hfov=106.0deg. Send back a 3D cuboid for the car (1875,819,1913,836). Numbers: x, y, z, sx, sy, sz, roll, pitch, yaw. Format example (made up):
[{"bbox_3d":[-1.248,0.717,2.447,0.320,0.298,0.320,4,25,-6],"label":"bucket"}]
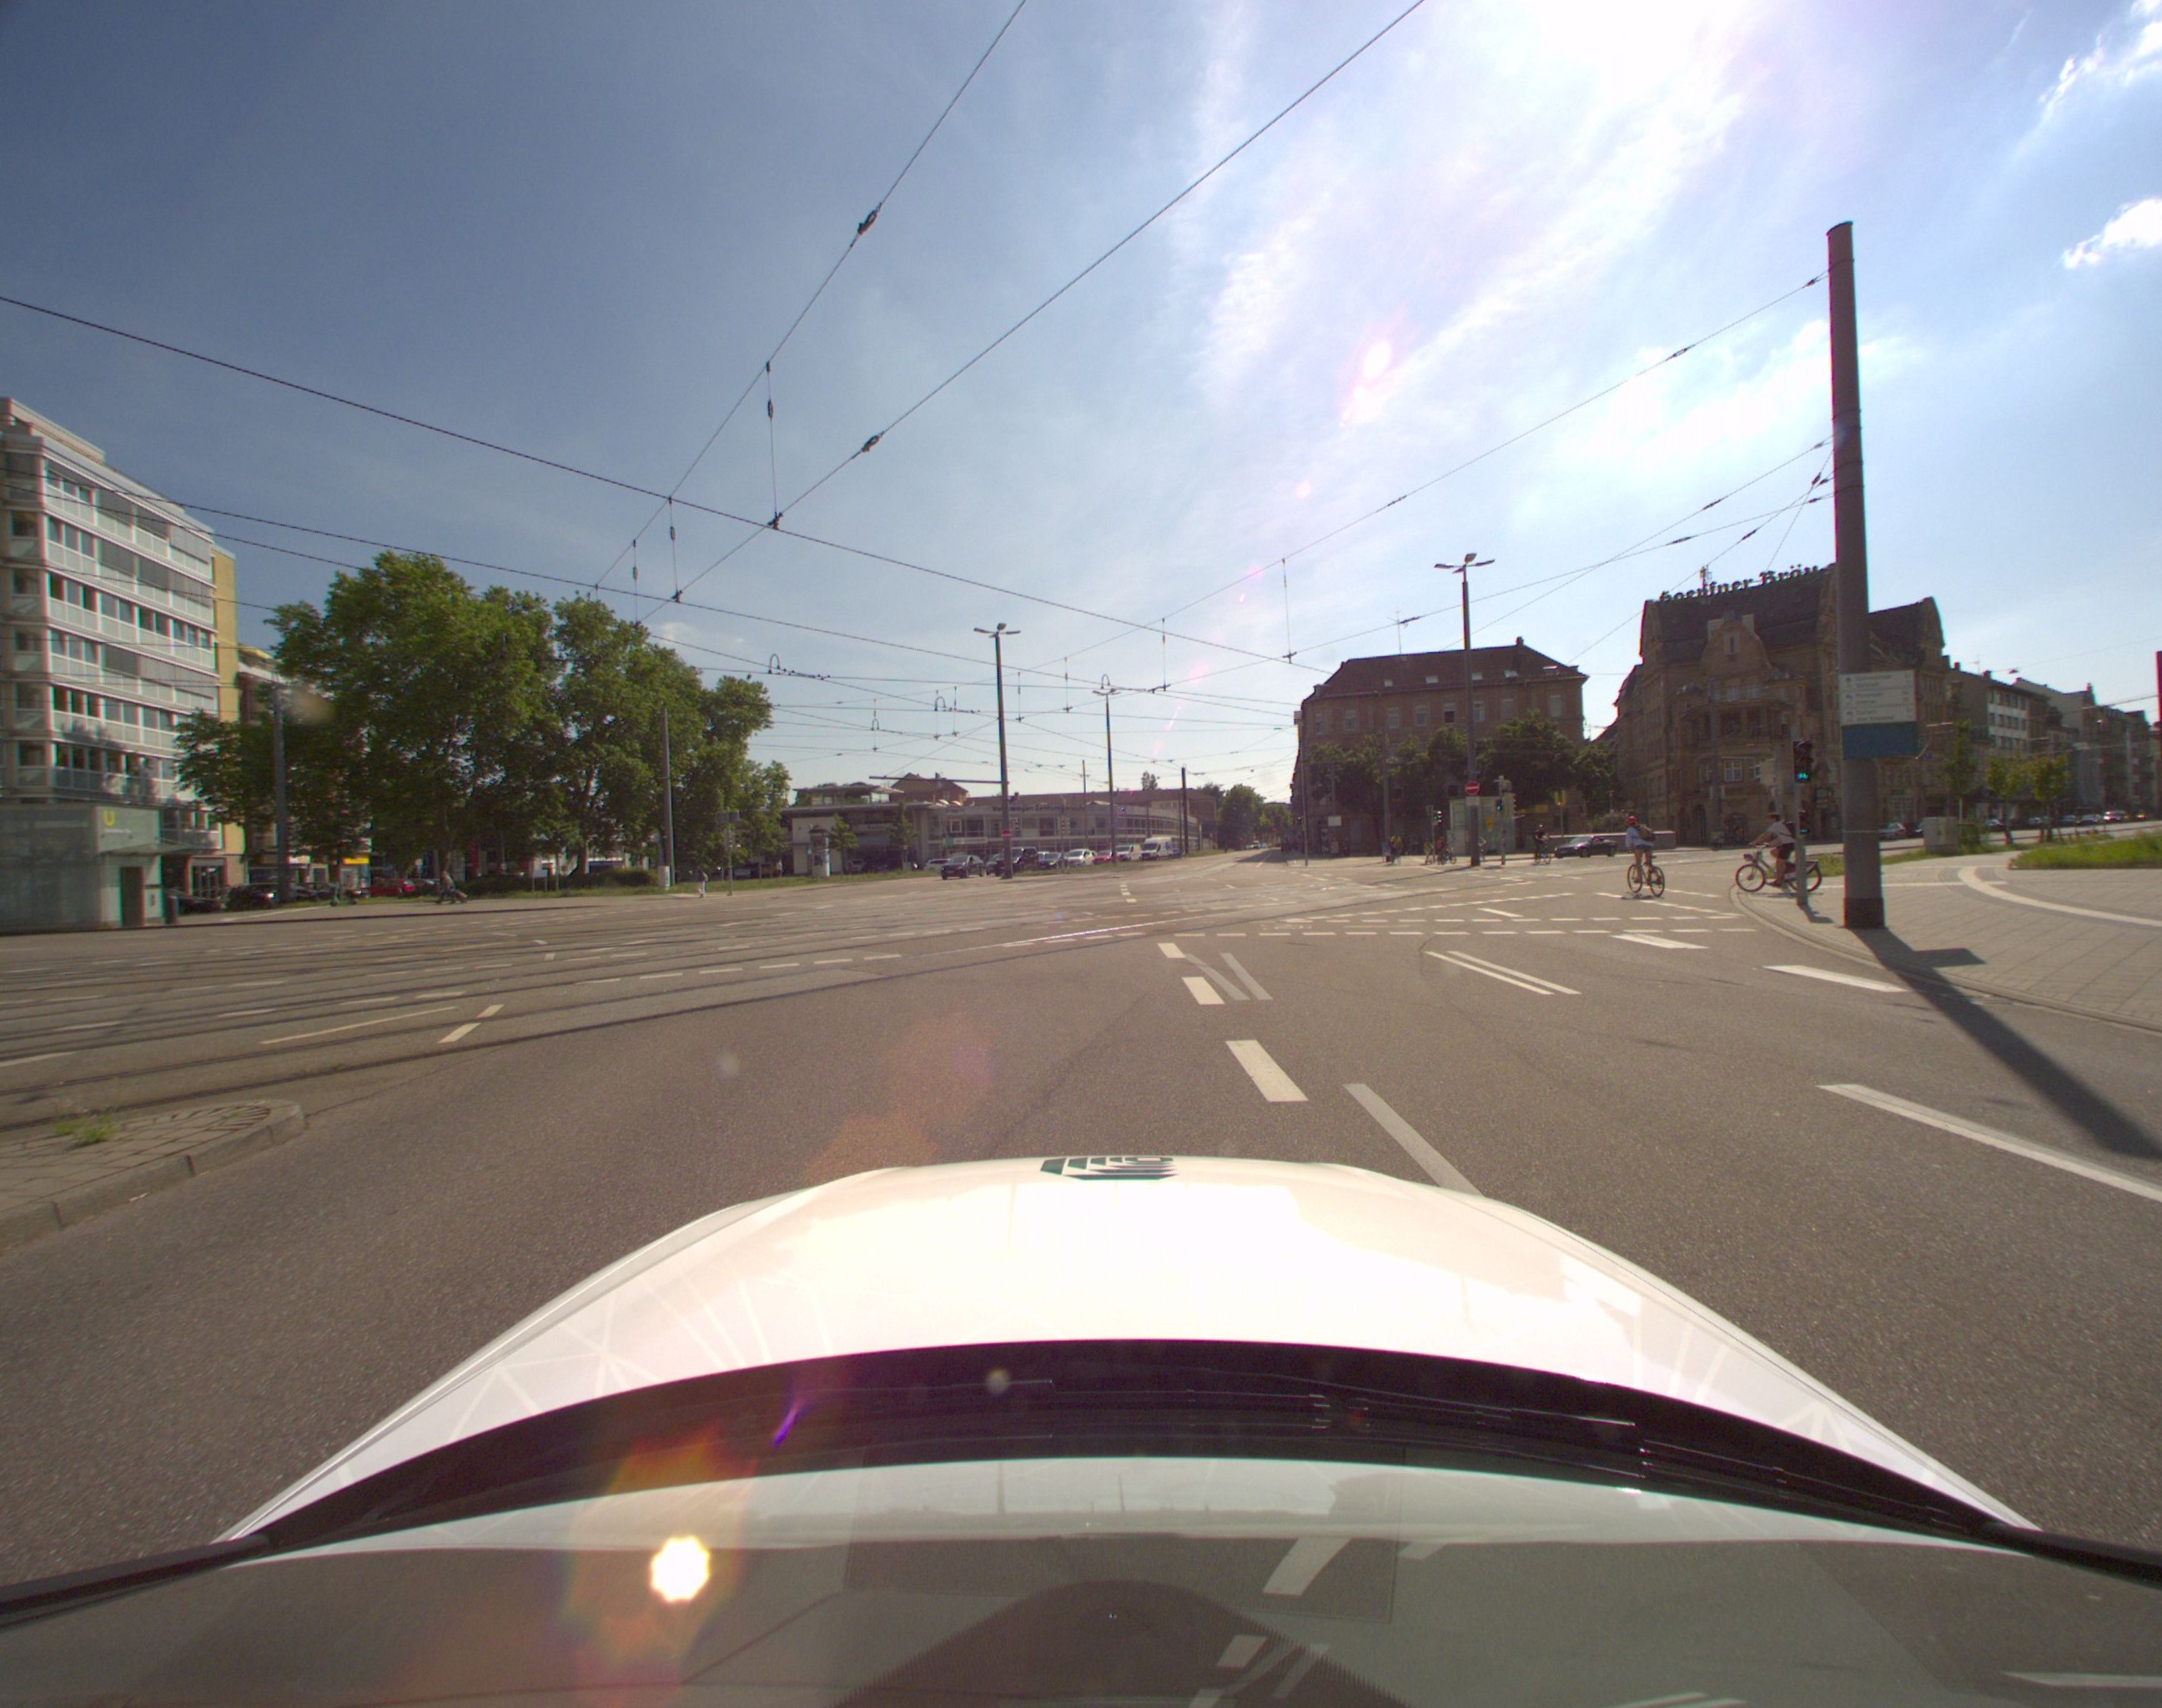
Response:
[{"bbox_3d":[74.109,-2.422,74.224,3.596,1.345,1.622,-2,0,-32],"label":"car"}]

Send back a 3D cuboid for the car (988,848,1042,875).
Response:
[{"bbox_3d":[-4.280,0.466,53.667,1.946,1.587,4.737,-2,0,17],"label":"car"}]

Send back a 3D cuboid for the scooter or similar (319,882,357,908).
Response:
[{"bbox_3d":[-34.457,1.895,37.774,1.351,1.119,0.518,-2,0,9],"label":"scooter or similar"}]

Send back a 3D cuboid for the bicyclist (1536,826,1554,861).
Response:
[{"bbox_3d":[21.965,-0.494,38.547,0.661,1.624,0.787,0,0,22],"label":"bicyclist"}]

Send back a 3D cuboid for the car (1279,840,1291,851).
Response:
[{"bbox_3d":[38.899,-1.539,155.364,2.093,2.014,4.015,0,-1,14],"label":"car"}]

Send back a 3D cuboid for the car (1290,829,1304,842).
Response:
[{"bbox_3d":[33.894,-2.886,127.882,1.980,2.014,4.012,0,-1,11],"label":"car"}]

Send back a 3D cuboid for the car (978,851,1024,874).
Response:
[{"bbox_3d":[-5.823,0.622,59.833,1.879,1.588,4.017,-2,-1,17],"label":"car"}]

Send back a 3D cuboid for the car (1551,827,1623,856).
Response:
[{"bbox_3d":[30.806,-0.774,49.612,4.002,1.583,1.627,-2,0,-21],"label":"car"}]

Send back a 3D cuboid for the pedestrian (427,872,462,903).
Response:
[{"bbox_3d":[-29.542,1.550,37.828,1.118,1.404,0.652,0,-1,-23],"label":"pedestrian"}]

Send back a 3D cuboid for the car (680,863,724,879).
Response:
[{"bbox_3d":[-43.317,1.941,93.124,3.977,1.552,1.998,-2,0,-3],"label":"car"}]

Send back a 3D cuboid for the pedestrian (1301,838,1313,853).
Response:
[{"bbox_3d":[22.357,-0.822,80.699,0.875,1.433,0.717,-2,0,41],"label":"pedestrian"}]

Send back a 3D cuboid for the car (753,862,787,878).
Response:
[{"bbox_3d":[-34.205,1.714,89.707,1.984,1.684,4.005,0,-1,4],"label":"car"}]

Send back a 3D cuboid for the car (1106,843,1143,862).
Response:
[{"bbox_3d":[4.386,-0.154,81.567,2.166,1.680,5.056,-3,0,22],"label":"car"}]

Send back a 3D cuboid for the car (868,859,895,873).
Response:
[{"bbox_3d":[-21.786,1.263,89.084,1.988,1.486,3.997,0,0,-2],"label":"car"}]

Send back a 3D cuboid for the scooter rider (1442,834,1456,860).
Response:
[{"bbox_3d":[20.495,-0.380,45.337,0.585,1.397,0.406,0,-1,-1],"label":"scooter rider"}]

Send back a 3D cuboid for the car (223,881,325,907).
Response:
[{"bbox_3d":[-49.339,2.408,49.878,3.997,1.440,1.880,0,-1,-18],"label":"car"}]

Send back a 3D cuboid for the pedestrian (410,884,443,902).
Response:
[{"bbox_3d":[-35.819,2.122,44.604,1.176,0.892,0.817,-2,0,-20],"label":"pedestrian"}]

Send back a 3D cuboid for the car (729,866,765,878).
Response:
[{"bbox_3d":[-36.552,1.941,89.264,1.984,1.244,4.005,0,0,4],"label":"car"}]

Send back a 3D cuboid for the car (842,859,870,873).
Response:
[{"bbox_3d":[-24.561,1.294,89.059,1.988,1.486,3.997,0,0,-2],"label":"car"}]

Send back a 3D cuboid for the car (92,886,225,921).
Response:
[{"bbox_3d":[-45.835,2.465,40.563,4.090,1.471,1.649,-2,-3,-18],"label":"car"}]

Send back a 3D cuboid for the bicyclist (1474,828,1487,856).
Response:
[{"bbox_3d":[23.057,-0.676,47.004,0.498,1.621,0.650,0,0,4],"label":"bicyclist"}]

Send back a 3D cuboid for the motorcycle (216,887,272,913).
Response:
[{"bbox_3d":[-38.083,2.101,37.057,2.021,1.062,0.642,-2,0,6],"label":"motorcycle"}]

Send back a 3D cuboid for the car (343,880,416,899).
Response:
[{"bbox_3d":[-53.122,2.687,61.739,3.732,1.340,1.733,0,-1,-18],"label":"car"}]

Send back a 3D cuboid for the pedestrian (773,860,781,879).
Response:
[{"bbox_3d":[-24.998,1.268,66.977,0.388,1.596,0.466,-1,-1,23],"label":"pedestrian"}]

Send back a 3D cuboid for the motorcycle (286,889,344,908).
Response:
[{"bbox_3d":[-39.407,2.272,41.912,0.632,0.842,2.051,-2,0,33],"label":"motorcycle"}]

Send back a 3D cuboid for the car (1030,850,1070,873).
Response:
[{"bbox_3d":[-2.267,0.567,60.253,1.881,1.588,4.015,-2,-1,14],"label":"car"}]

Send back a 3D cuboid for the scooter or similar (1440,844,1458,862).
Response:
[{"bbox_3d":[20.502,-0.033,45.369,0.585,0.976,0.991,0,-1,-1],"label":"scooter or similar"}]

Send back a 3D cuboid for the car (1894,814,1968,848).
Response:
[{"bbox_3d":[37.000,-1.006,35.419,3.466,1.313,1.654,-2,0,-34],"label":"car"}]

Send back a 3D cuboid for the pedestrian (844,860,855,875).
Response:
[{"bbox_3d":[-23.888,1.384,83.956,0.951,1.580,0.533,0,-1,-4],"label":"pedestrian"}]

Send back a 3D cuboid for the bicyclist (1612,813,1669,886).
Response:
[{"bbox_3d":[13.374,-0.112,19.493,0.710,1.669,0.876,-4,0,7],"label":"bicyclist"}]

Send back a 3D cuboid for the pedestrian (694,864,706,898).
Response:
[{"bbox_3d":[-18.379,1.297,39.313,0.456,1.605,0.395,0,-1,-37],"label":"pedestrian"}]

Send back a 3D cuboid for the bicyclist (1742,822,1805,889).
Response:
[{"bbox_3d":[15.909,0.047,18.725,0.719,1.488,0.940,0,-1,-35],"label":"bicyclist"}]

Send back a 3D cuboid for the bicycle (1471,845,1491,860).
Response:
[{"bbox_3d":[23.058,-0.103,46.920,0.498,0.866,1.589,0,0,5],"label":"bicycle"}]

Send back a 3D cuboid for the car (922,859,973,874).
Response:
[{"bbox_3d":[-12.514,1.180,76.404,4.553,1.436,1.449,0,-1,13],"label":"car"}]

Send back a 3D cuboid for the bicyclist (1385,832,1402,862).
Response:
[{"bbox_3d":[19.264,-0.443,50.212,0.919,1.820,1.057,-1,-1,20],"label":"bicyclist"}]

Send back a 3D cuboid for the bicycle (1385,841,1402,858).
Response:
[{"bbox_3d":[19.352,-0.264,50.468,0.919,1.069,2.760,-1,-1,19],"label":"bicycle"}]

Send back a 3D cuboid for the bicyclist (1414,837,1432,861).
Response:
[{"bbox_3d":[20.672,-0.311,49.285,0.919,1.451,1.258,0,0,19],"label":"bicyclist"}]

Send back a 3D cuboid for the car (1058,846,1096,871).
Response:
[{"bbox_3d":[-0.292,0.409,67.583,1.880,1.917,4.218,-2,-1,16],"label":"car"}]

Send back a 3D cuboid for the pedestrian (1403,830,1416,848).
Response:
[{"bbox_3d":[26.141,-1.189,64.781,0.617,1.433,0.704,0,-1,-38],"label":"pedestrian"}]

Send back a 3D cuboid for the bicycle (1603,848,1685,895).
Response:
[{"bbox_3d":[13.422,0.403,19.497,0.710,1.015,2.025,-4,0,8],"label":"bicycle"}]

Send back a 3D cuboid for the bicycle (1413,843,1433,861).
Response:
[{"bbox_3d":[20.677,-0.115,49.244,0.919,1.069,2.855,0,1,19],"label":"bicycle"}]

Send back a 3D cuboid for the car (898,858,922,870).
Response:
[{"bbox_3d":[-18.605,1.086,88.758,1.825,1.195,3.997,0,0,-2],"label":"car"}]

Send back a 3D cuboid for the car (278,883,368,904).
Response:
[{"bbox_3d":[-50.400,2.627,54.258,3.997,1.270,1.733,0,-1,-18],"label":"car"}]

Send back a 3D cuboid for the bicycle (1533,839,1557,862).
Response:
[{"bbox_3d":[22.041,-0.164,38.747,0.661,1.069,2.477,0,1,22],"label":"bicycle"}]

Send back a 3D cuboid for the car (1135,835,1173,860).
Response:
[{"bbox_3d":[7.984,-0.663,88.824,2.188,2.575,5.909,-1,-1,25],"label":"car"}]

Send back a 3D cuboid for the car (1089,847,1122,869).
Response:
[{"bbox_3d":[2.278,0.371,74.530,1.880,1.917,4.218,-2,-1,16],"label":"car"}]

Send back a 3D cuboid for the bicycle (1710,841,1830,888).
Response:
[{"bbox_3d":[15.863,0.238,18.794,0.719,1.015,1.999,0,-1,-35],"label":"bicycle"}]

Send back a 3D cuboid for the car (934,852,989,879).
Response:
[{"bbox_3d":[-7.720,0.733,52.986,1.877,1.588,4.228,-2,-1,17],"label":"car"}]
